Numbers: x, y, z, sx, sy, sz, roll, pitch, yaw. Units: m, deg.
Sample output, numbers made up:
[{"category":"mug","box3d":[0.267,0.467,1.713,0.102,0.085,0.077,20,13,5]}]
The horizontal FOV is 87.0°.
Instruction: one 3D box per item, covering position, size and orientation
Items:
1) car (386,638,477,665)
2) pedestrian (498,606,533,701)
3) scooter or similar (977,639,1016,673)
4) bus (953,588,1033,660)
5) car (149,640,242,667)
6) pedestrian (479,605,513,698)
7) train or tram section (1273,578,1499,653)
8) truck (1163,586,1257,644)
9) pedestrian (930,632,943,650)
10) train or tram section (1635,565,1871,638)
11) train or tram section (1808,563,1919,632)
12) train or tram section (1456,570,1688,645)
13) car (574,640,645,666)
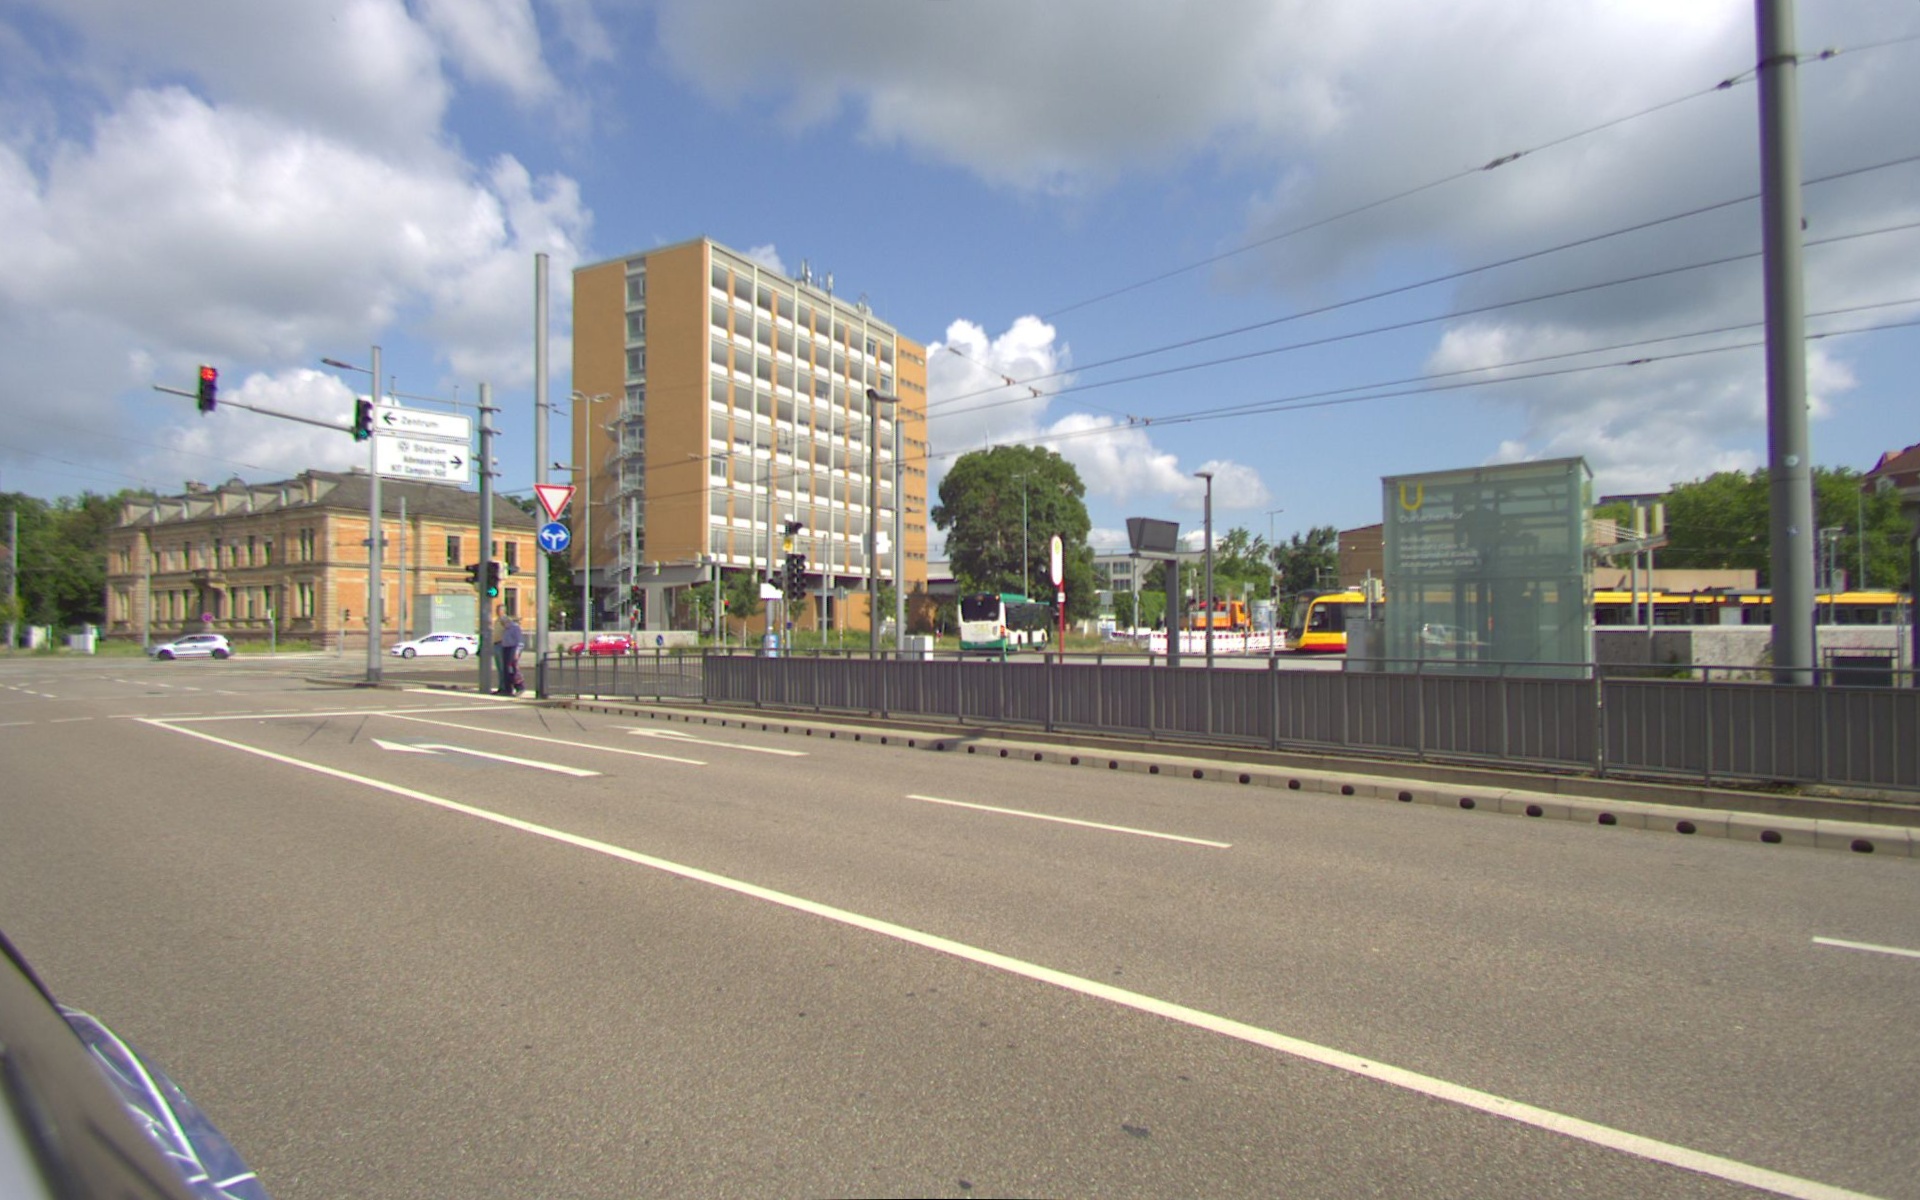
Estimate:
[{"category":"car","box3d":[-30.791,3.001,58.977,4.595,1.440,1.768,0,-4,-32]},{"category":"pedestrian","box3d":[-9.700,1.155,22.090,0.513,2.029,0.498,-2,-2,30]},{"category":"scooter or similar","box3d":[1.297,1.995,36.004,1.164,1.175,0.804,-2,-2,32]},{"category":"bus","box3d":[2.123,1.406,57.490,2.884,3.648,12.338,-1,-2,10]},{"category":"car","box3d":[-42.775,2.997,56.724,4.008,1.396,1.593,0,-4,-29]},{"category":"pedestrian","box3d":[-10.368,1.143,22.595,0.576,2.029,0.422,-2,-2,30]},{"category":"train or tram section","box3d":[22.331,0.845,53.420,10.447,3.507,3.328,-2,-3,-5]},{"category":"truck","box3d":[18.546,1.160,74.819,7.948,4.039,2.840,2,-3,-43]},{"category":"pedestrian","box3d":[-2.070,3.620,89.834,0.947,1.590,0.766,-1,-2,12]},{"category":"train or tram section","box3d":[43.149,0.120,55.271,10.447,3.507,3.328,-2,-3,-5]},{"category":"train or tram section","box3d":[53.435,-0.199,55.970,10.447,3.507,3.328,-2,-3,-5]},{"category":"train or tram section","box3d":[32.641,0.438,54.243,10.447,3.507,3.328,-2,-3,-5]},{"category":"car","box3d":[-22.267,3.352,64.339,3.997,1.479,1.651,0,-4,-34]}]
